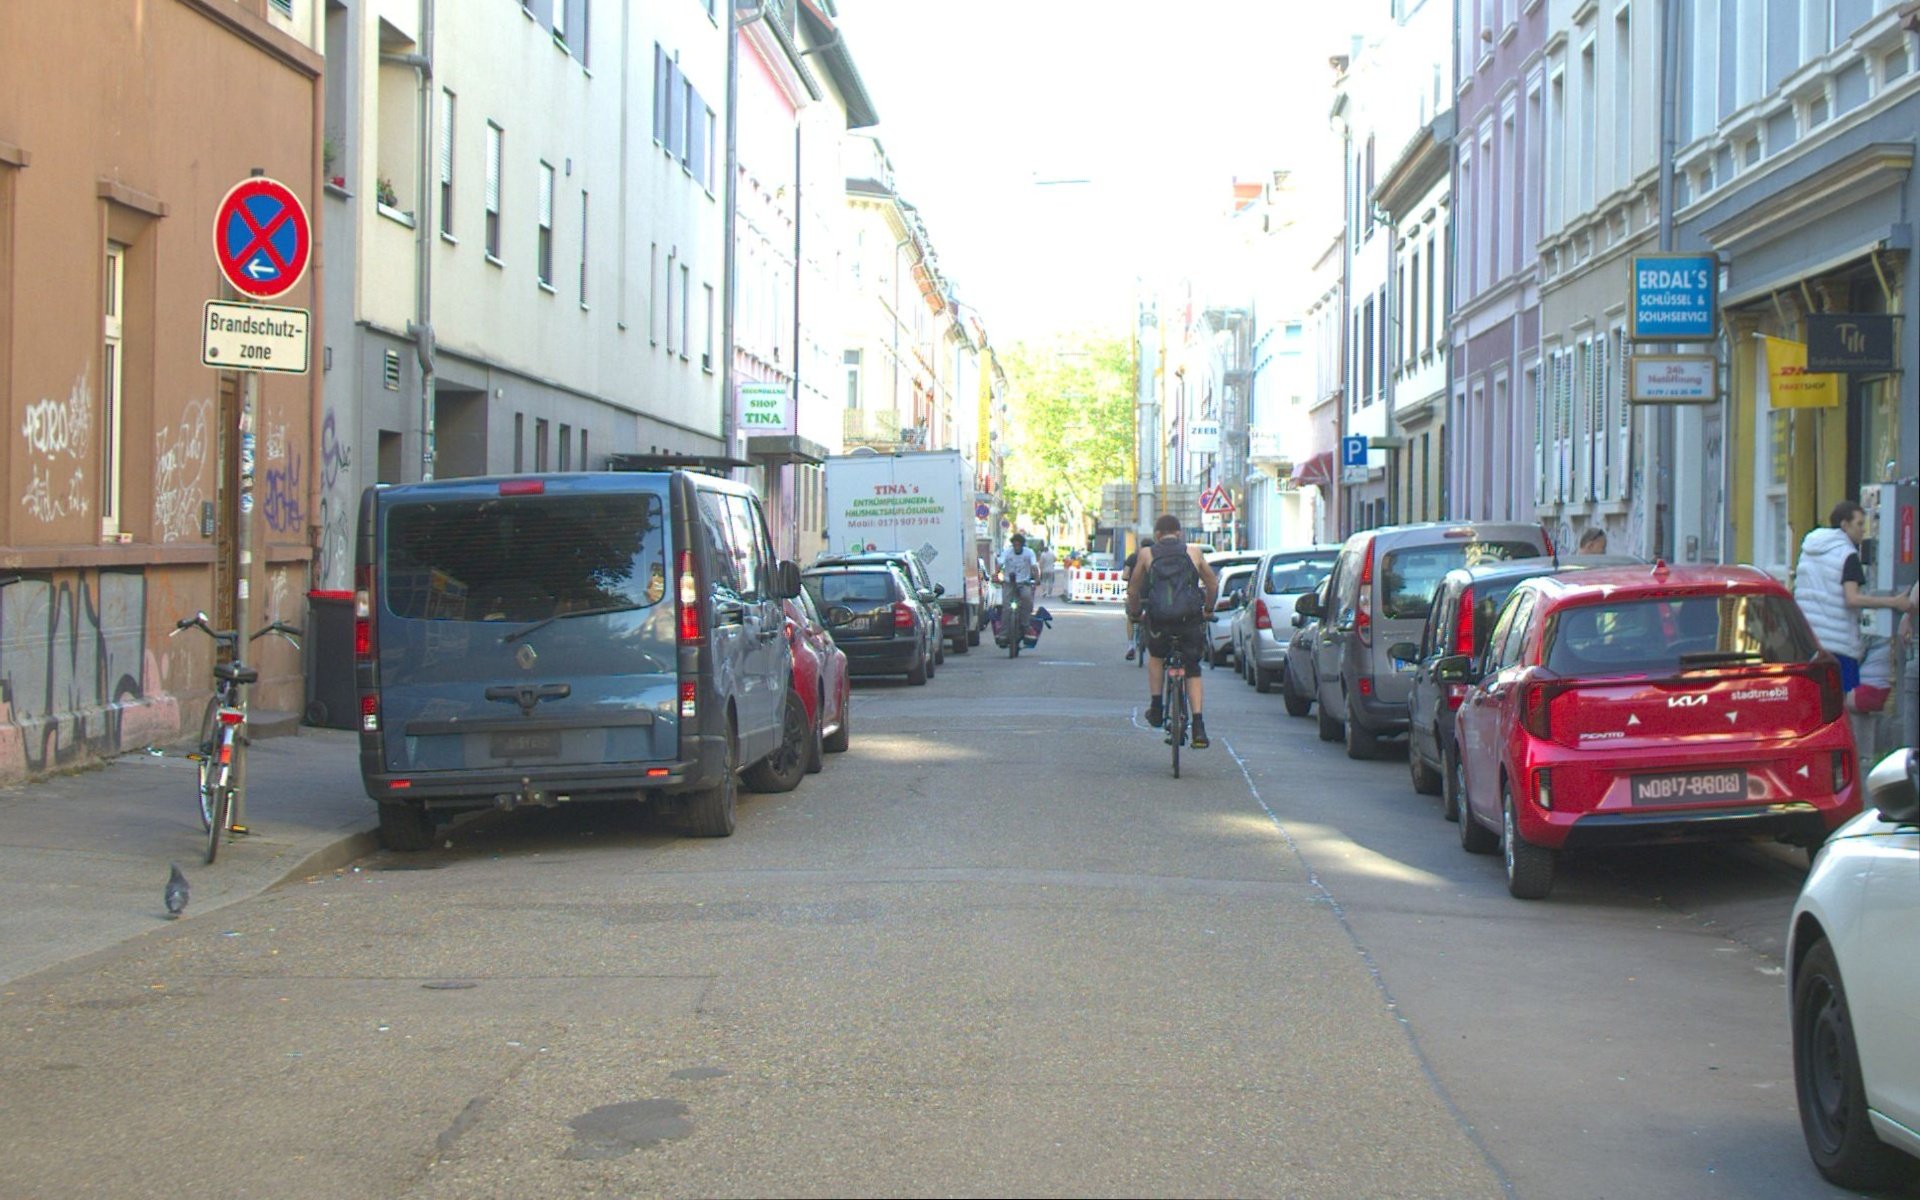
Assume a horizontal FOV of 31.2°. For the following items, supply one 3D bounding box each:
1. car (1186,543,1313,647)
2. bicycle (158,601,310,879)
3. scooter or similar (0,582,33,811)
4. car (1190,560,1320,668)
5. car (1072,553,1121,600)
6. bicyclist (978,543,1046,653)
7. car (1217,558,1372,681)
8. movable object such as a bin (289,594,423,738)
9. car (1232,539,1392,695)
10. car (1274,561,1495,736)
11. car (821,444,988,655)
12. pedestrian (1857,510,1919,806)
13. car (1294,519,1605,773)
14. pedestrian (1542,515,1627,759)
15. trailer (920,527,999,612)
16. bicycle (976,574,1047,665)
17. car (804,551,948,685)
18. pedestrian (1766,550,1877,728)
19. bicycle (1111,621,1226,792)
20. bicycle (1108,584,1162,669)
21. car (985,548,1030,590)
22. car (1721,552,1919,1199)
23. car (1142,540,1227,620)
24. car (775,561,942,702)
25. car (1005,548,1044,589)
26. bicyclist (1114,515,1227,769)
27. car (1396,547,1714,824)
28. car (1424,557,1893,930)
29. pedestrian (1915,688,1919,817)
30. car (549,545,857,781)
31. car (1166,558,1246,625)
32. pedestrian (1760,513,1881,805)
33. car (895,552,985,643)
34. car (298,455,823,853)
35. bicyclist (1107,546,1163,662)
[{"bbox_3d":[4.976,-0.108,59.655,1.918,1.700,4.366,1,1,2],"label":"car"},{"bbox_3d":[-3.509,0.638,16.534,0.550,1.212,1.989,2,0,-15],"label":"bicycle"},{"bbox_3d":[-5.255,0.510,18.008,0.347,1.212,1.392,2,0,1],"label":"scooter or similar"},{"bbox_3d":[4.388,0.185,51.653,1.686,1.538,4.046,-1,0,1],"label":"car"},{"bbox_3d":[4.638,-0.823,117.079,1.611,1.555,3.610,1,1,2],"label":"car"},{"bbox_3d":[0.783,-0.033,51.572,0.950,1.622,0.953,-1,1,4],"label":"bicyclist"},{"bbox_3d":[4.383,0.232,45.618,1.697,1.538,4.629,-1,0,1],"label":"car"},{"bbox_3d":[-4.674,0.505,26.623,0.760,1.063,0.651,2,0,22],"label":"movable object such as a bin"},{"bbox_3d":[4.129,0.178,40.734,1.556,1.706,3.558,2,0,1],"label":"car"},{"bbox_3d":[3.975,0.420,32.655,1.552,1.506,3.612,2,0,-1],"label":"car"},{"bbox_3d":[-0.844,-0.811,57.475,2.344,3.280,7.153,-1,0,3],"label":"car"},{"bbox_3d":[5.844,0.346,20.574,0.628,1.734,0.659,2,0,-11],"label":"pedestrian"},{"bbox_3d":[3.809,0.325,27.447,1.899,1.787,4.315,2,0,2],"label":"car"},{"bbox_3d":[4.445,0.261,24.505,0.441,1.698,0.654,2,0,2],"label":"pedestrian"},{"bbox_3d":[-0.001,-0.756,86.901,1.882,2.085,3.737,0,0,2],"label":"trailer"},{"bbox_3d":[0.794,0.272,51.813,0.977,1.310,2.555,0,1,3],"label":"bicycle"},{"bbox_3d":[-1.099,0.207,46.879,1.717,1.645,4.246,-1,2,1],"label":"car"},{"bbox_3d":[6.060,0.272,24.185,0.531,1.218,0.513,3,0,42],"label":"pedestrian"},{"bbox_3d":[1.413,0.705,23.577,0.677,1.071,1.942,2,0,1],"label":"bicycle"},{"bbox_3d":[2.423,0.356,47.764,0.648,1.125,2.136,2,0,2],"label":"bicycle"},{"bbox_3d":[1.960,-1.256,140.306,1.750,1.678,3.796,0,0,2],"label":"car"},{"bbox_3d":[2.955,0.689,7.059,1.787,1.511,4.137,2,0,0],"label":"car"},{"bbox_3d":[5.428,-0.486,83.388,1.750,1.872,3.973,0,0,0],"label":"car"},{"bbox_3d":[-1.157,0.327,40.940,1.717,1.473,4.499,-1,2,1],"label":"car"},{"bbox_3d":[2.962,-1.436,157.591,1.750,1.815,3.796,0,0,2],"label":"car"},{"bbox_3d":[1.432,0.278,23.561,0.668,1.671,1.097,2,0,1],"label":"bicyclist"},{"bbox_3d":[3.632,0.485,21.437,1.570,1.551,3.313,-2,0,4],"label":"car"},{"bbox_3d":[3.295,0.615,16.829,1.606,1.567,3.553,2,0,2],"label":"car"},{"bbox_3d":[5.941,0.517,19.842,0.587,1.524,0.659,2,0,-3],"label":"pedestrian"},{"bbox_3d":[-1.768,0.415,24.785,1.751,1.517,3.869,-2,0,2],"label":"car"},{"bbox_3d":[5.588,-0.205,78.316,1.750,1.481,3.799,0,0,3],"label":"car"},{"bbox_3d":[5.228,0.352,20.904,0.561,1.734,0.428,2,0,0],"label":"pedestrian"},{"bbox_3d":[-0.382,-0.055,71.480,1.752,1.810,4.078,-1,0,1],"label":"car"},{"bbox_3d":[-2.077,0.213,19.564,2.020,1.873,5.296,2,1,3],"label":"car"},{"bbox_3d":[2.430,0.054,47.773,0.671,1.562,0.716,2,0,0],"label":"bicyclist"}]
